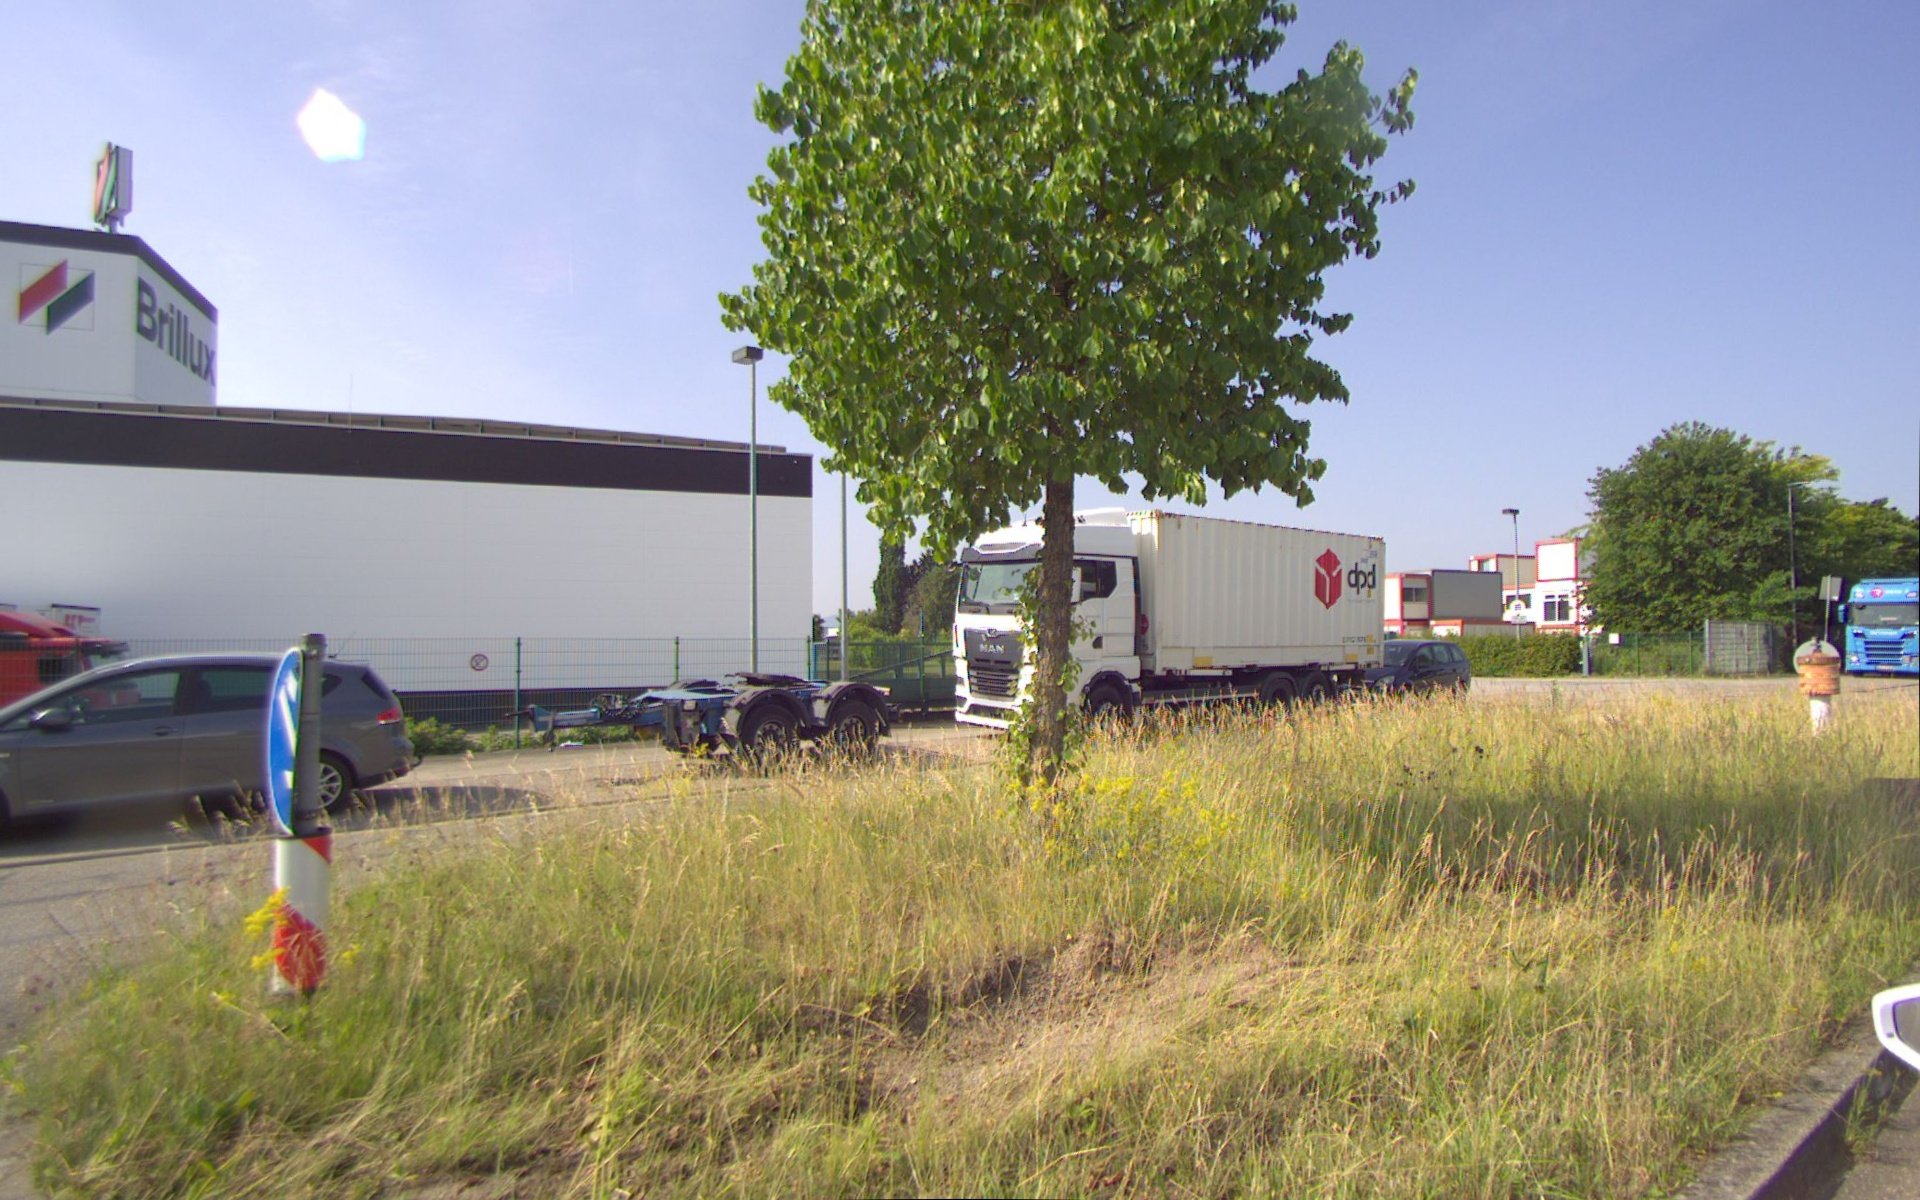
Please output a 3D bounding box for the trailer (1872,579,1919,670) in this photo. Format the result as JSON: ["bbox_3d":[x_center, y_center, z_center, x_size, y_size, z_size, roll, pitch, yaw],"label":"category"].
[{"bbox_3d":[45.548,1.297,46.649,11.930,3.893,2.810,3,-2,-38],"label":"trailer"}]

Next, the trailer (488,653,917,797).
[{"bbox_3d":[-3.391,1.509,13.576,5.028,1.472,2.663,1,-2,-36],"label":"trailer"}]

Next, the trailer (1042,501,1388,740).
[{"bbox_3d":[5.339,0.509,20.137,7.509,3.973,2.679,3,-2,-38],"label":"trailer"}]

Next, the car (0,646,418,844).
[{"bbox_3d":[-7.806,1.280,9.726,4.296,1.582,1.683,1,-1,-38],"label":"car"}]

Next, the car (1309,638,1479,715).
[{"bbox_3d":[10.640,1.784,24.495,4.550,1.662,1.977,2,-2,-40],"label":"car"}]

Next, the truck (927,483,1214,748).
[{"bbox_3d":[1.969,0.324,17.457,4.259,3.973,2.688,3,-2,-38],"label":"truck"}]

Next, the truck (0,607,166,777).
[{"bbox_3d":[-23.888,2.111,24.100,6.913,3.922,2.759,2,-2,-23],"label":"truck"}]

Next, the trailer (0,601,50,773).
[{"bbox_3d":[-29.334,1.884,21.881,13.807,4.059,2.849,2,-2,-22],"label":"trailer"}]

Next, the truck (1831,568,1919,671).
[{"bbox_3d":[39.057,0.944,41.565,9.588,3.876,2.804,3,-2,-38],"label":"truck"}]
